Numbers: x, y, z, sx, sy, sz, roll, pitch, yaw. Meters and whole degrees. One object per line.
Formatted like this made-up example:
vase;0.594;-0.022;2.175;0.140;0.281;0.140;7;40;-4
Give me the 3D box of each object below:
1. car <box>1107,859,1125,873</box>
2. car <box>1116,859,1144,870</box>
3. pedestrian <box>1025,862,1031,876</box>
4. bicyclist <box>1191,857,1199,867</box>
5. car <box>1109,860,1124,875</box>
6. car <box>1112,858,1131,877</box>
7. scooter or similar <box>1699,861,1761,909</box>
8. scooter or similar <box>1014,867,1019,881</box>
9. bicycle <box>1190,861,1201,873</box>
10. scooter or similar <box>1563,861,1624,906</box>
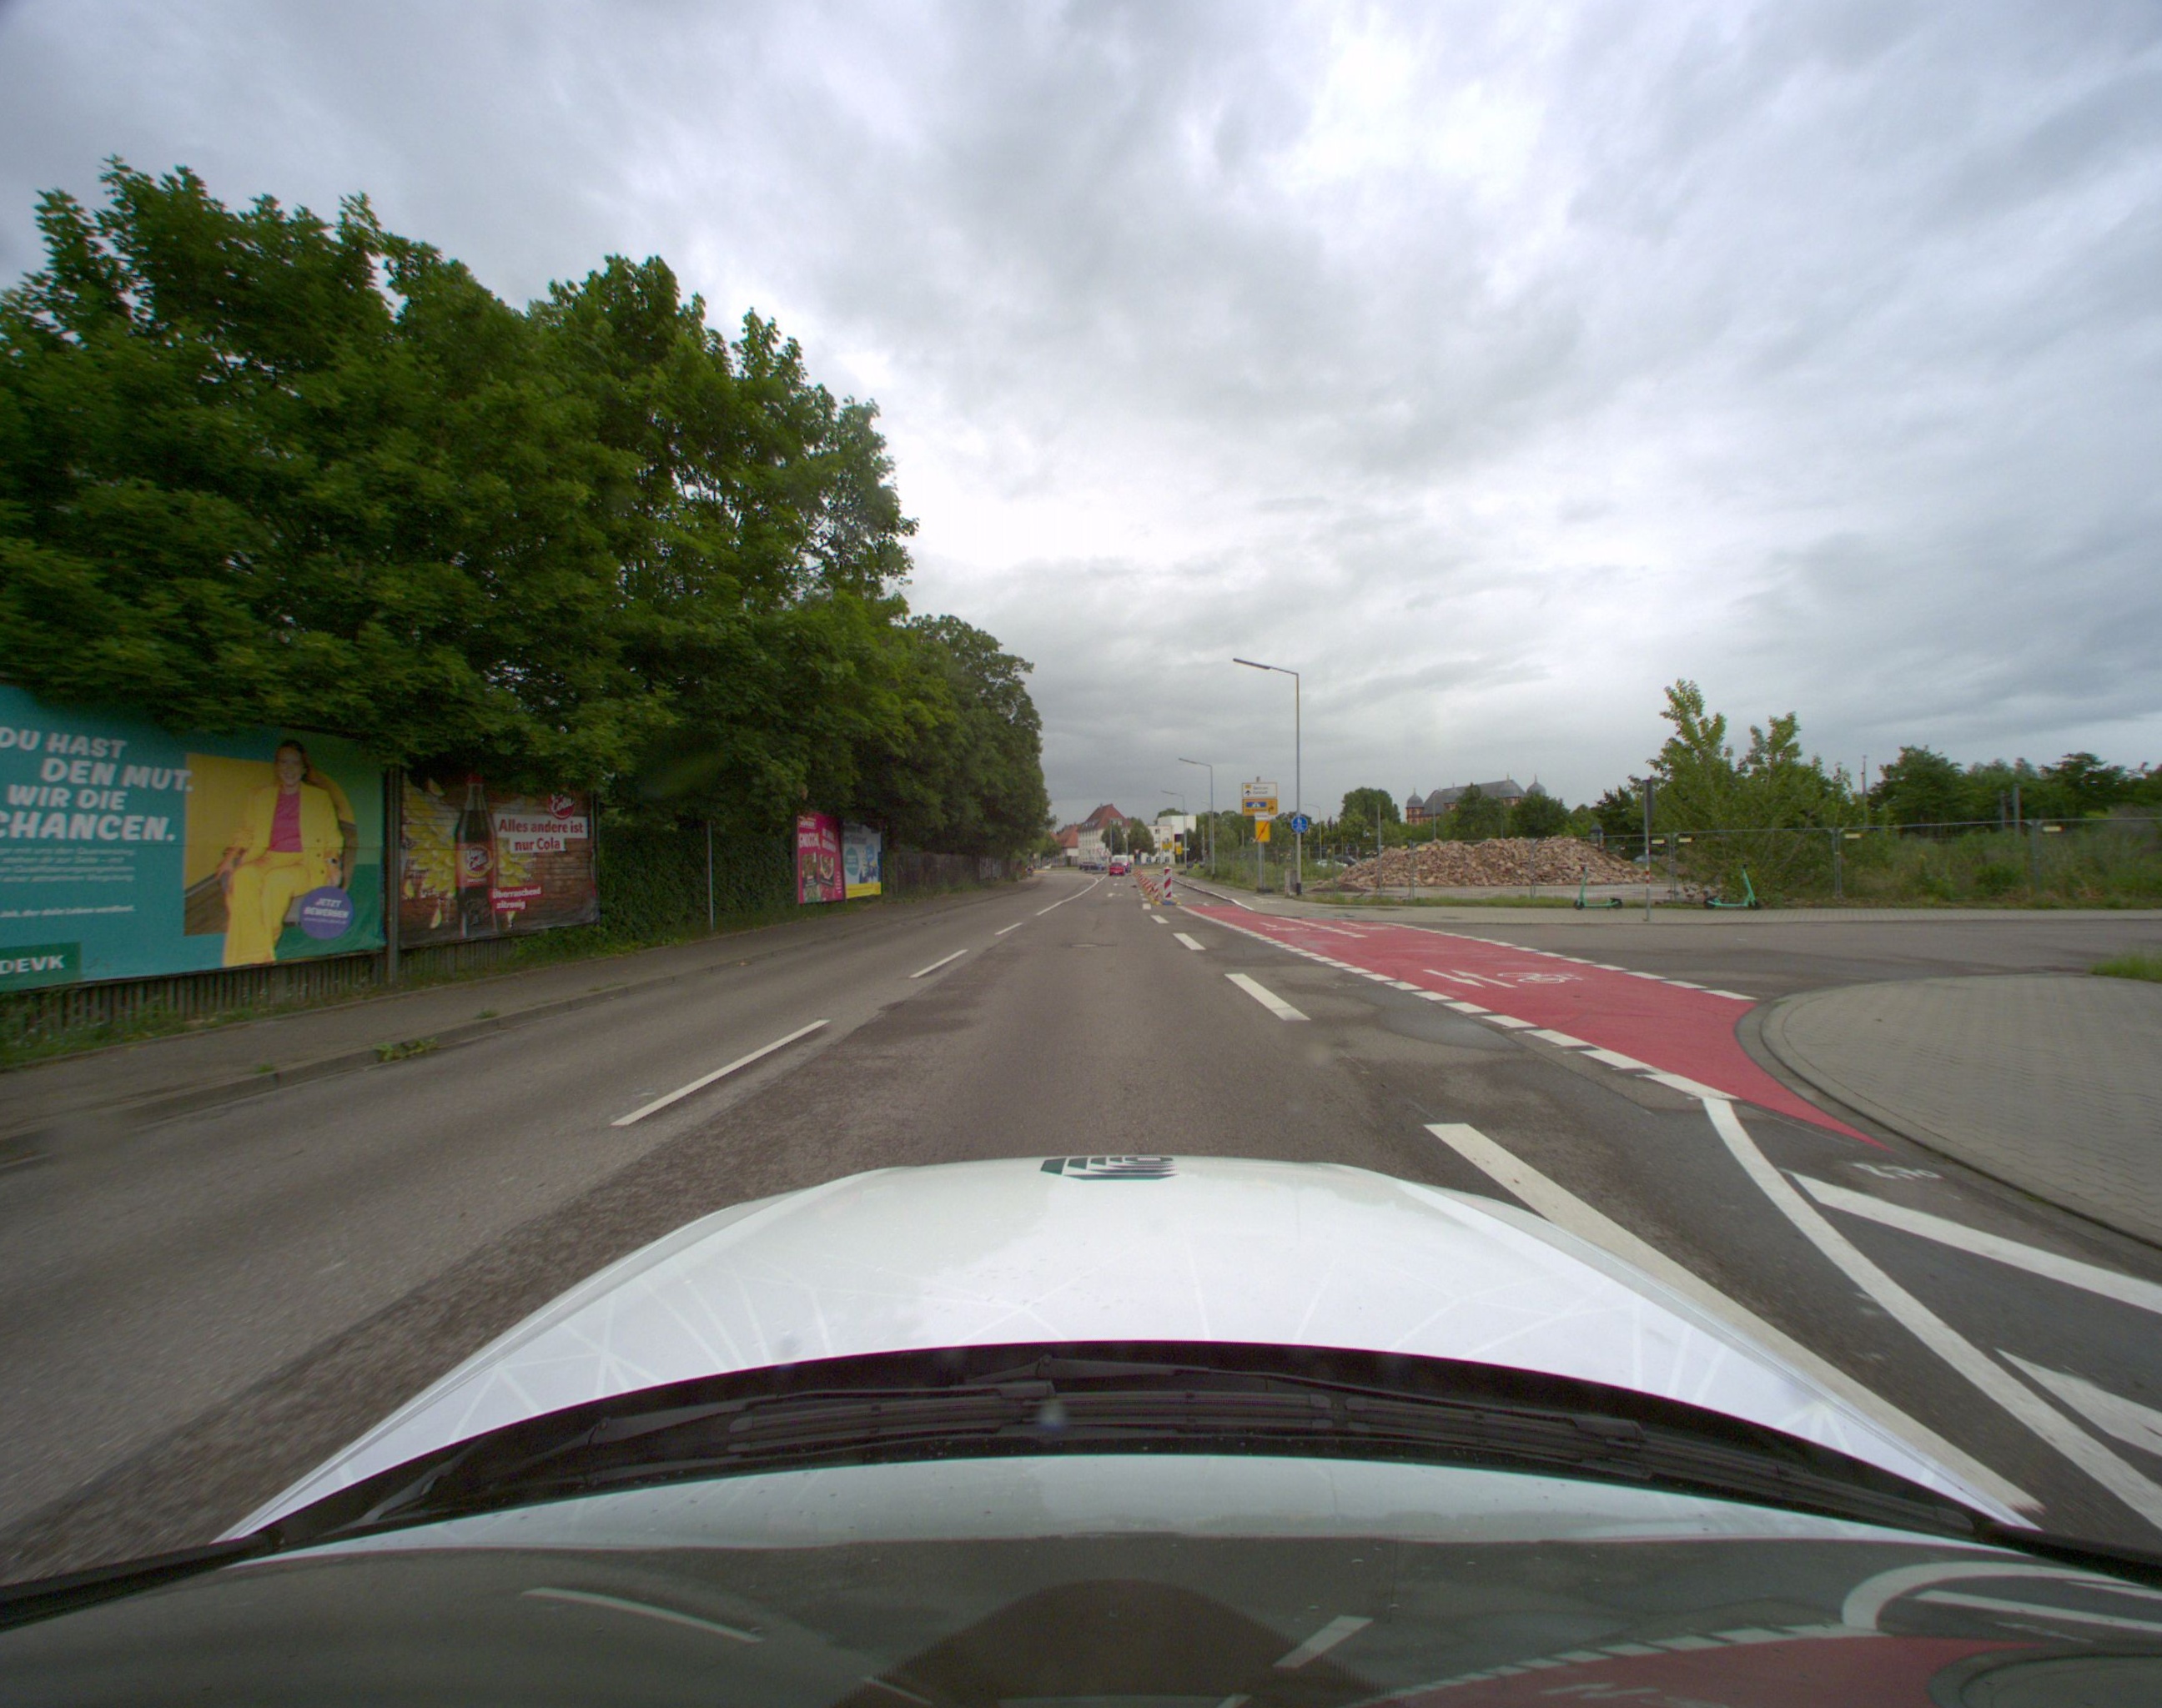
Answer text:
car;4.310;1.480;99.725;2.051;1.648;4.611;0;-1;3
car;8.324;1.815;138.759;2.128;1.795;4.551;0;-1;-45
pedestrian;-5.756;1.670;88.700;0.610;1.529;0.723;-1;-1;-2
bicyclist;15.677;1.109;111.730;1.056;1.401;0.616;-1;-1;5
car;4.045;1.521;92.989;1.666;1.640;3.630;0;-1;3
car;5.799;1.929;116.484;2.182;2.540;4.974;0;-1;9
scooter or similar;16.526;0.786;20.757;1.159;1.185;0.448;-2;-1;28
scooter or similar;-5.571;1.698;70.459;0.421;1.171;1.302;-1;-1;-2
bicycle;15.707;1.722;111.722;1.470;1.612;0.607;-1;-1;5
scooter or similar;13.925;0.810;22.149;1.310;1.185;0.448;-2;-1;43
